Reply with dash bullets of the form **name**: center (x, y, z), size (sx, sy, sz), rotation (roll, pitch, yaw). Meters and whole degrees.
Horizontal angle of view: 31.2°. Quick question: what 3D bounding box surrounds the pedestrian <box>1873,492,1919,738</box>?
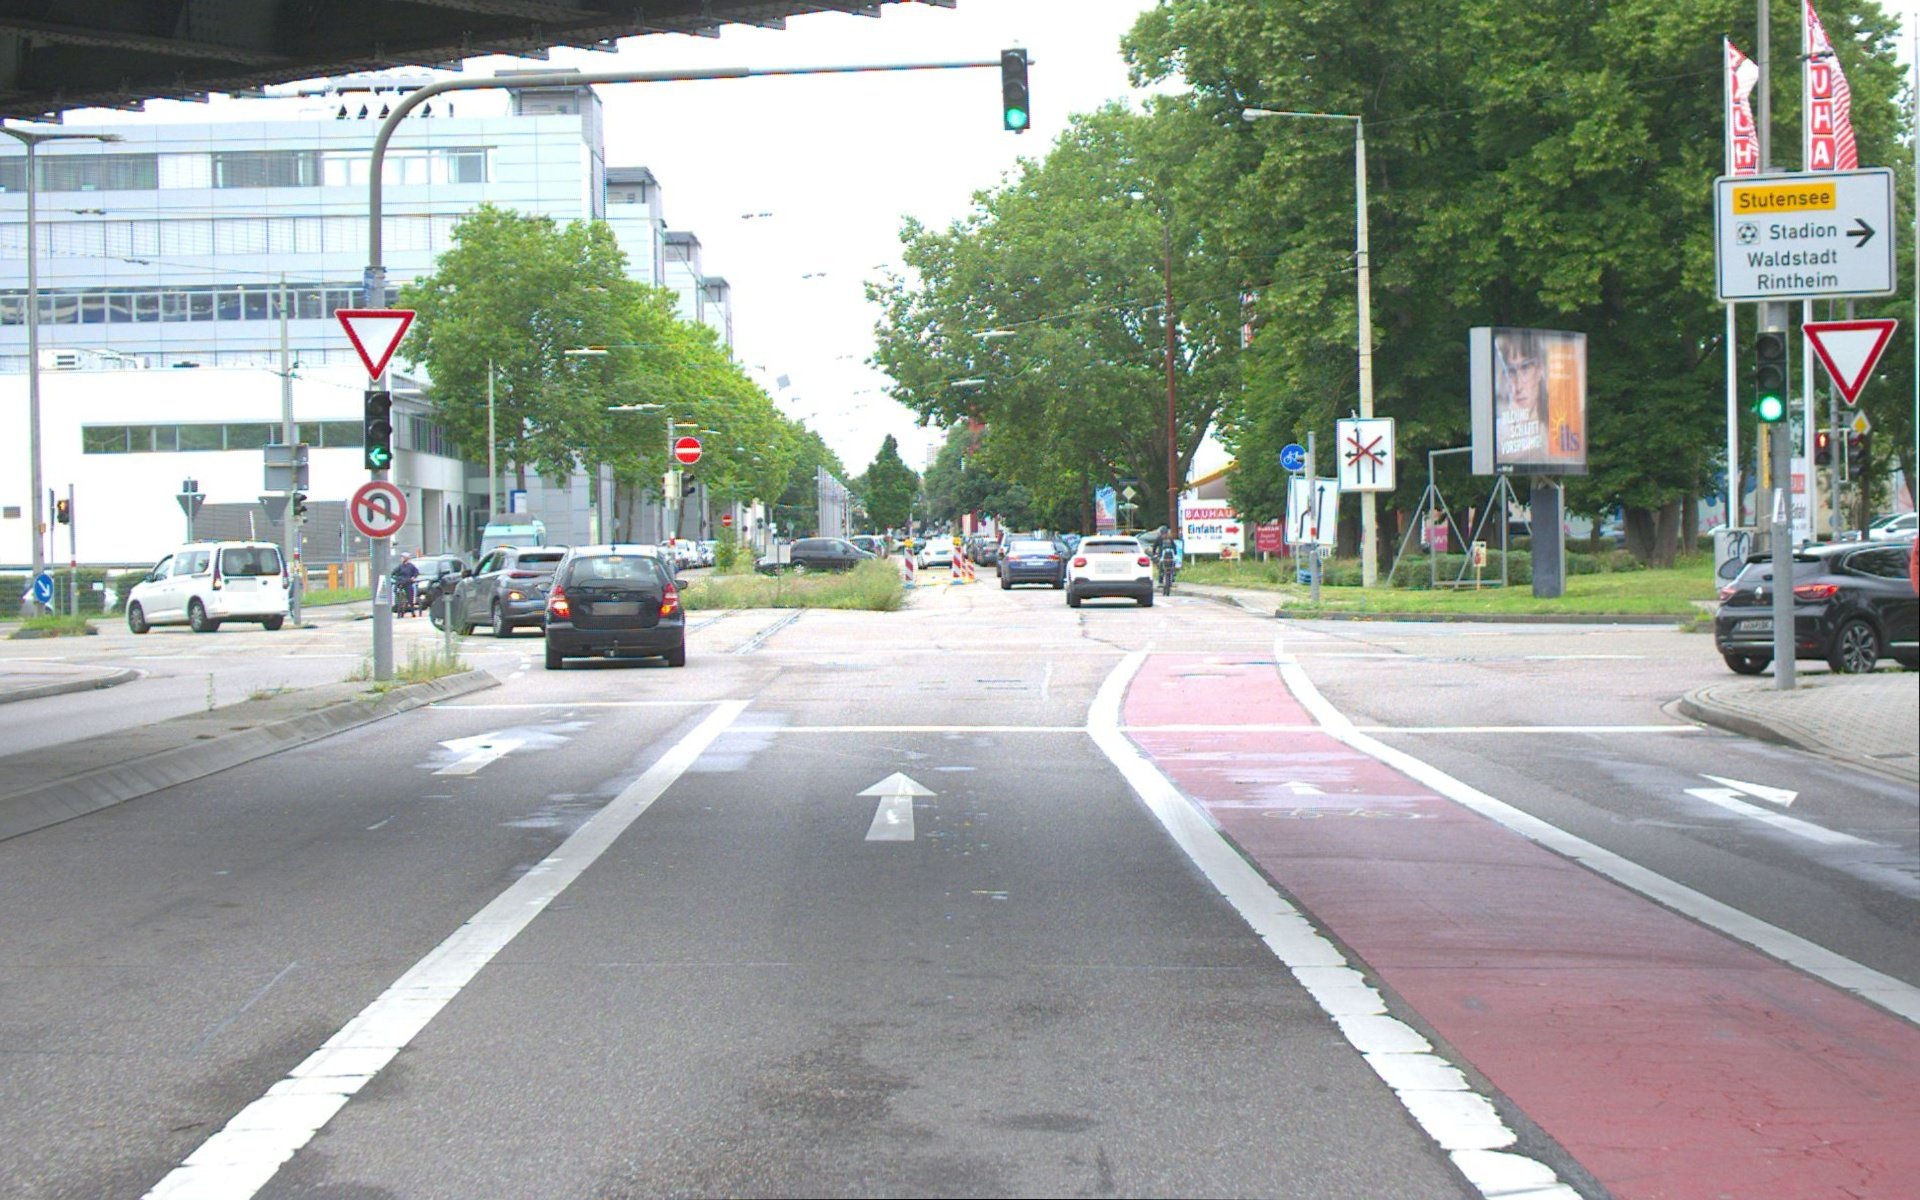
- **pedestrian**: center (7.054, 0.095, 24.756), size (0.872, 1.753, 0.787), rotation (-1, 1, 18)

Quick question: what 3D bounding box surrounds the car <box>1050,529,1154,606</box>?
- **car**: center (3.023, -0.726, 73.997), size (1.823, 1.595, 3.776), rotation (0, 1, -4)

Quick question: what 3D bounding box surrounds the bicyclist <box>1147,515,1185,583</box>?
- **bicyclist**: center (5.080, -1.261, 84.871), size (0.816, 1.624, 1.235), rotation (-1, 1, -1)

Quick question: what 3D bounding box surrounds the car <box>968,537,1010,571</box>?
- **car**: center (1.434, -2.332, 173.669), size (1.877, 1.627, 4.001), rotation (-2, 1, -2)

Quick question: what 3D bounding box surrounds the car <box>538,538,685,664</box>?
- **car**: center (-4.451, -0.017, 44.348), size (1.768, 1.522, 3.670), rotation (0, 1, -4)

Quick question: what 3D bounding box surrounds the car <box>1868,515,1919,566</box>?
- **car**: center (29.639, -1.737, 102.198), size (4.674, 1.492, 2.171), rotation (1, 1, -2)

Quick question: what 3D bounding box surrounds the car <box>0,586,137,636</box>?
- **car**: center (-30.030, 0.377, 115.590), size (4.211, 1.527, 1.913), rotation (-1, 1, 1)

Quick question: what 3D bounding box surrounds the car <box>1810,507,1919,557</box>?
- **car**: center (29.235, -2.124, 107.995), size (4.530, 1.492, 1.960), rotation (1, 1, -5)

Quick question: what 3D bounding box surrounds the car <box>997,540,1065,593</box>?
- **car**: center (2.070, -0.993, 101.426), size (1.684, 1.508, 3.706), rotation (0, 1, -4)

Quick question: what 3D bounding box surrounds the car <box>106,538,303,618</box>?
- **car**: center (-15.471, -0.472, 70.215), size (1.962, 1.522, 5.009), rotation (-1, 2, -38)

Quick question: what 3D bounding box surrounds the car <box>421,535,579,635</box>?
- **car**: center (-7.960, -0.287, 59.263), size (1.772, 1.647, 3.670), rotation (0, 2, -23)

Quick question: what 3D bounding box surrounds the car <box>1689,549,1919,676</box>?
- **car**: center (9.663, 0.108, 36.675), size (3.408, 1.276, 1.653), rotation (-1, 2, -28)

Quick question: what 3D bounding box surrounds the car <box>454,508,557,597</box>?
- **car**: center (-15.031, -1.585, 114.092), size (2.328, 2.816, 5.949), rotation (-1, 1, 2)

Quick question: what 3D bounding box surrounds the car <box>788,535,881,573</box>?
- **car**: center (-5.276, -1.931, 144.732), size (3.883, 1.550, 1.825), rotation (1, 1, -1)

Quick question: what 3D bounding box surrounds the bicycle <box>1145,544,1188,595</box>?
- **bicycle**: center (5.096, -0.771, 84.882), size (0.816, 1.208, 2.683), rotation (-2, 1, -1)

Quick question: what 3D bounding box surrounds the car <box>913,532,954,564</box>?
- **car**: center (-1.313, -2.542, 168.377), size (1.795, 1.508, 3.706), rotation (0, 1, -4)
